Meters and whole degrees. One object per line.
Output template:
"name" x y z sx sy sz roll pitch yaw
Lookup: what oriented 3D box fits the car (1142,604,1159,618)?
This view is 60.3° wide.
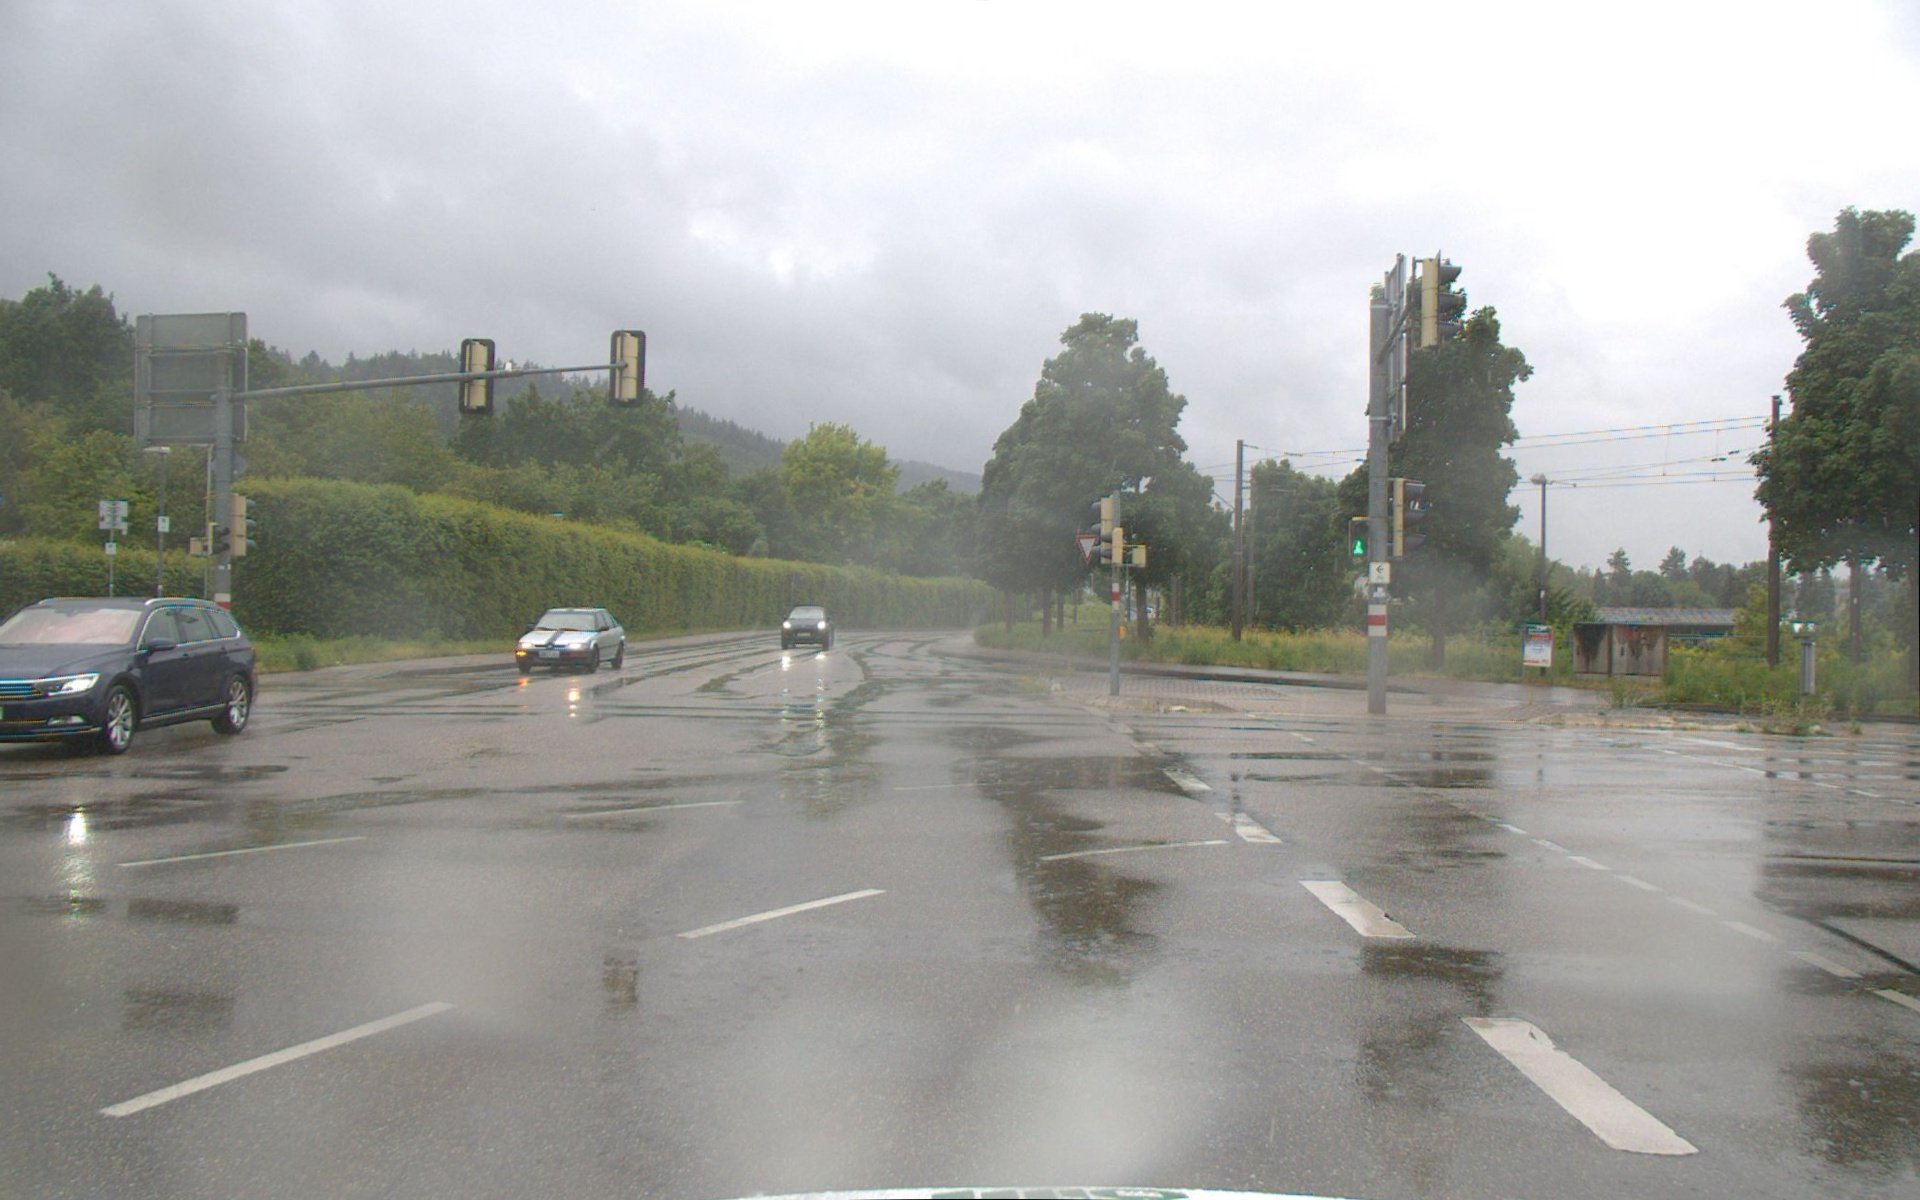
"car" 26.414 1.518 228.916 1.912 1.937 4.123 0 0 13

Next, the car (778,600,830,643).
"car" -5.903 0.788 62.844 1.749 1.531 4.059 0 0 -2

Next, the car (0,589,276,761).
"car" -8.578 0.652 16.677 1.674 1.491 4.450 1 0 -3

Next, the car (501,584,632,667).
"car" -8.757 0.522 37.133 1.995 1.738 4.065 1 1 -1
